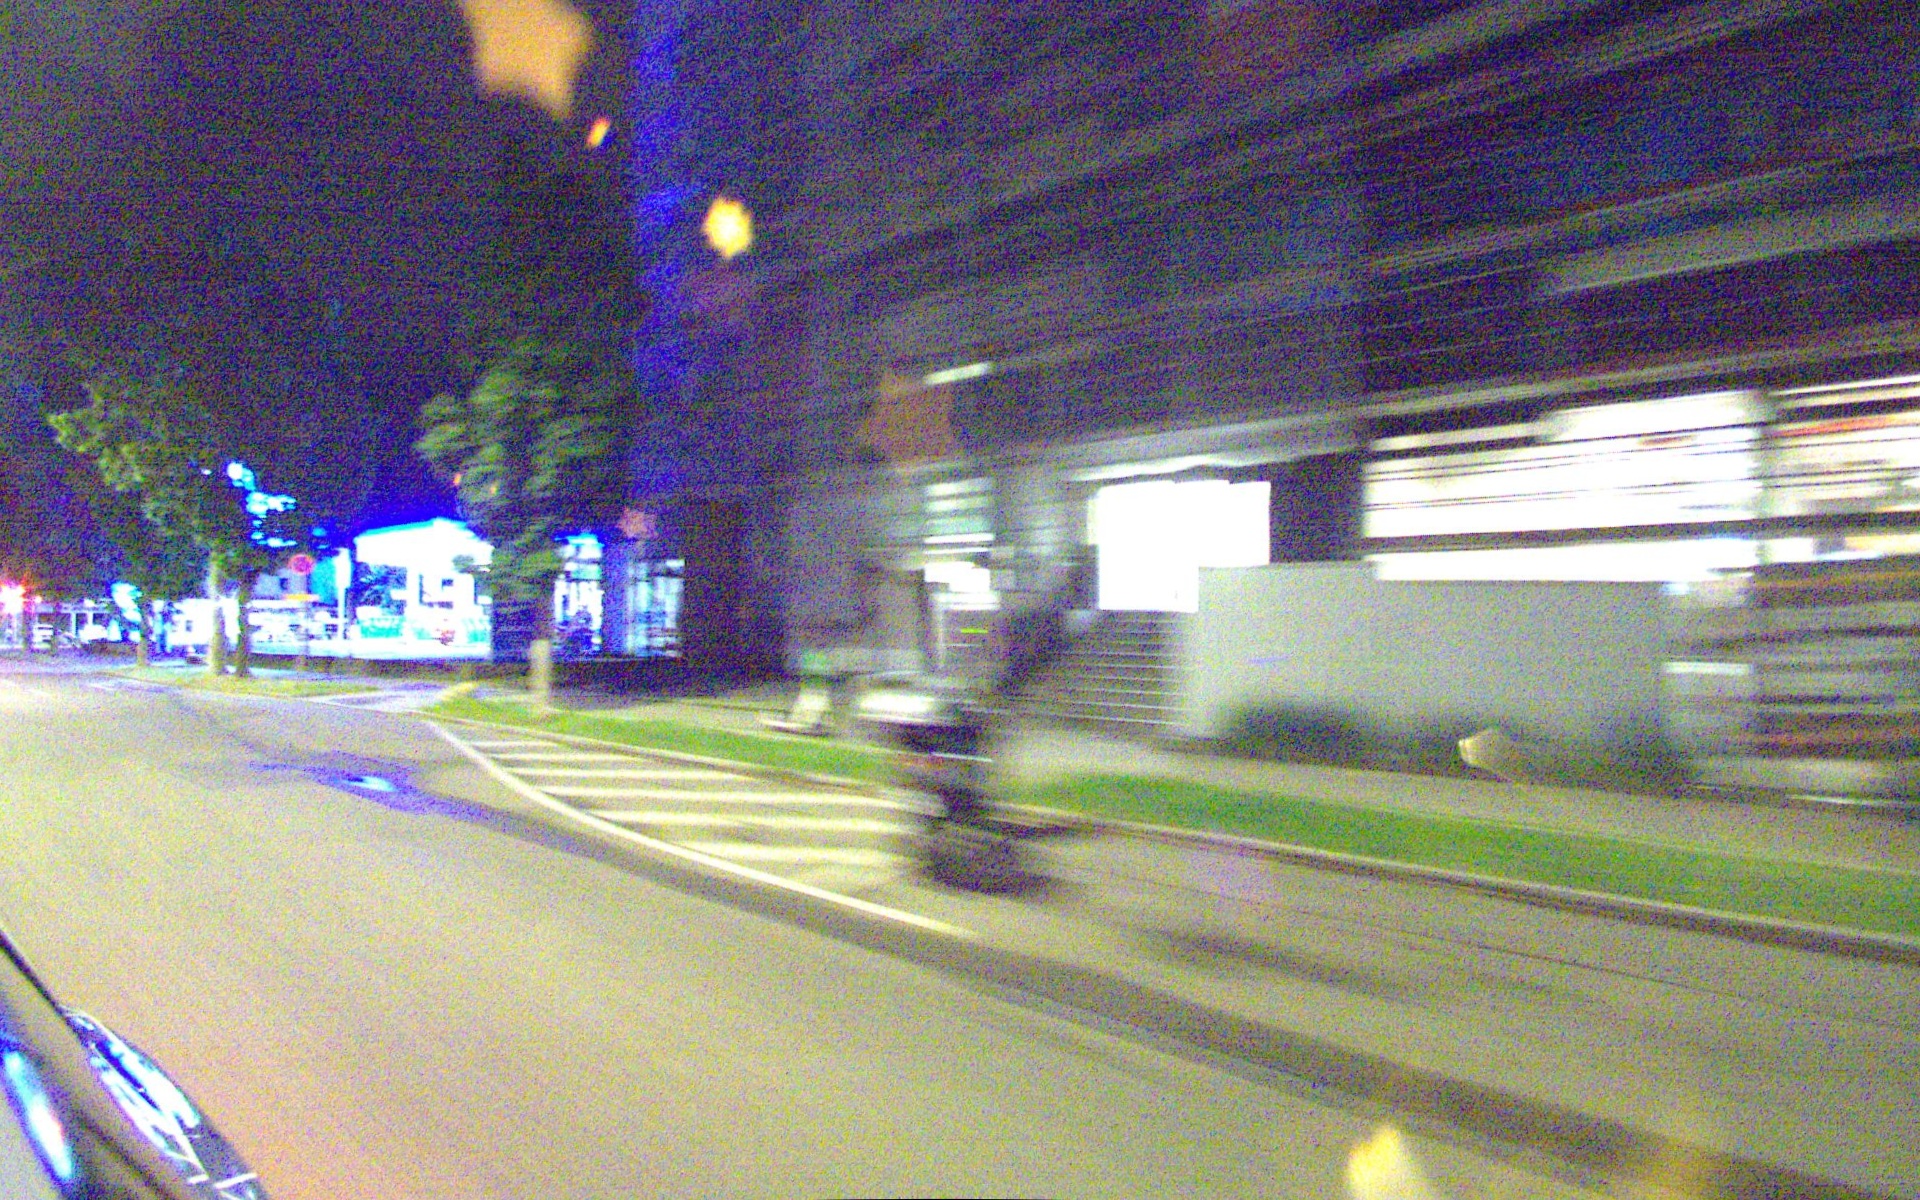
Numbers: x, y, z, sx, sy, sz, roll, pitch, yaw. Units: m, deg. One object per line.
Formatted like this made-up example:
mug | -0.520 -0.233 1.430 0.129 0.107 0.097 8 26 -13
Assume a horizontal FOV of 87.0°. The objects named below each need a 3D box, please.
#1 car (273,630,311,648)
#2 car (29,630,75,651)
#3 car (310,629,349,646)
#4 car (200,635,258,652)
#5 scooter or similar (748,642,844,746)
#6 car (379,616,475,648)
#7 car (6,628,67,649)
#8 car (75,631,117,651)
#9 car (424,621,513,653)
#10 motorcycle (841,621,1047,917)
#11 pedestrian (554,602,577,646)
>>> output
car | -58.385 3.376 88.407 4.084 1.489 1.710 -2 -2 40
car | -68.701 3.041 76.559 4.383 1.569 1.973 -2 -2 40
car | -56.568 3.356 90.830 4.083 1.489 1.840 -2 -2 40
car | -66.756 3.943 92.517 1.716 1.489 4.256 -1 -1 13
scooter or similar | -2.067 1.141 12.663 1.427 1.213 0.363 -1 -2 41
car | -29.523 1.754 56.145 1.977 1.740 4.301 -2 -2 40
car | -76.295 3.177 83.668 1.633 1.712 3.529 -1 -3 40
car | -67.009 3.148 78.458 4.067 1.472 1.840 -2 -2 40
car | -24.657 1.812 50.849 1.669 1.544 3.711 -2 -2 40
motorcycle | -0.024 0.944 6.510 0.635 1.561 1.894 -1 0 21
pedestrian | -14.725 0.903 37.804 0.642 1.618 0.569 -1 -2 40
